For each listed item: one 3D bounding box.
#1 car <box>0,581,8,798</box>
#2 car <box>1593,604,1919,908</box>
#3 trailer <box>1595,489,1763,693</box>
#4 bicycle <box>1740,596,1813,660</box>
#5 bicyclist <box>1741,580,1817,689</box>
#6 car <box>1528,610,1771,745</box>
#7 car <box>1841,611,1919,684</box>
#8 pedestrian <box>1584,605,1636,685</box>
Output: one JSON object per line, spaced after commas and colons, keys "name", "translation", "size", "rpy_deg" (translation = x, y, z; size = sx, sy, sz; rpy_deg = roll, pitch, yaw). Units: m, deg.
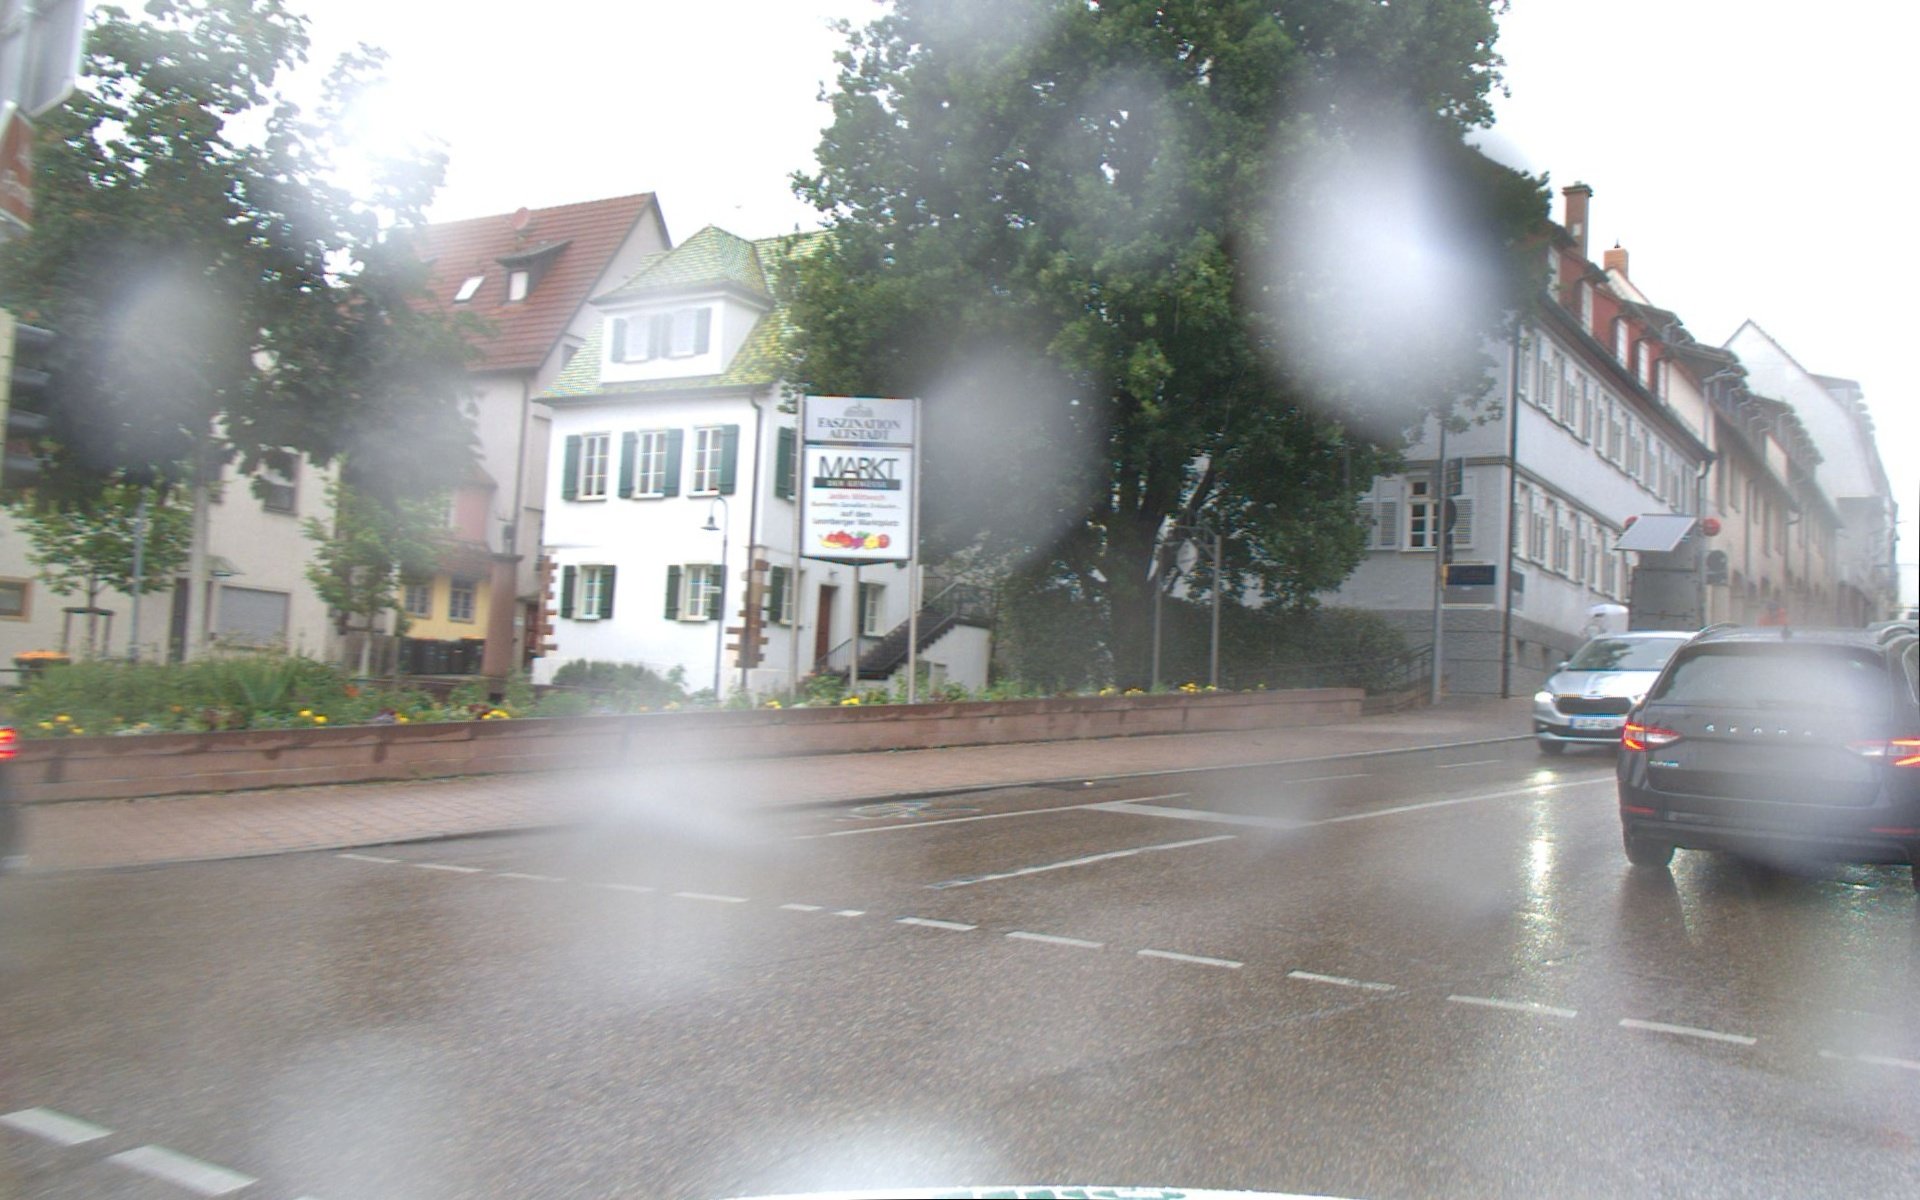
{"name": "car", "translation": [-6.271, 0.628, 6.193], "size": [4.375, 1.565, 1.970], "rpy_deg": [2, -1, -42]}
{"name": "car", "translation": [5.552, 0.788, 10.434], "size": [1.855, 1.473, 4.340], "rpy_deg": [1, 1, 36]}
{"name": "trailer", "translation": [13.879, -0.087, 31.776], "size": [1.960, 3.596, 4.557], "rpy_deg": [1, -2, 36]}
{"name": "bicycle", "translation": [15.749, 0.555, 31.880], "size": [0.736, 1.183, 2.144], "rpy_deg": [-1, -3, 41]}
{"name": "bicyclist", "translation": [15.806, 0.655, 31.922], "size": [1.120, 2.049, 0.874], "rpy_deg": [0, -1, 42]}
{"name": "car", "translation": [8.492, 0.929, 20.204], "size": [1.637, 1.452, 3.850], "rpy_deg": [1, -1, 40]}
{"name": "car", "translation": [23.483, 1.172, 41.347], "size": [1.843, 1.691, 4.289], "rpy_deg": [-4, -3, 37]}
{"name": "pedestrian", "translation": [13.240, 0.905, 33.675], "size": [0.696, 1.556, 1.040], "rpy_deg": [2, 1, 38]}
